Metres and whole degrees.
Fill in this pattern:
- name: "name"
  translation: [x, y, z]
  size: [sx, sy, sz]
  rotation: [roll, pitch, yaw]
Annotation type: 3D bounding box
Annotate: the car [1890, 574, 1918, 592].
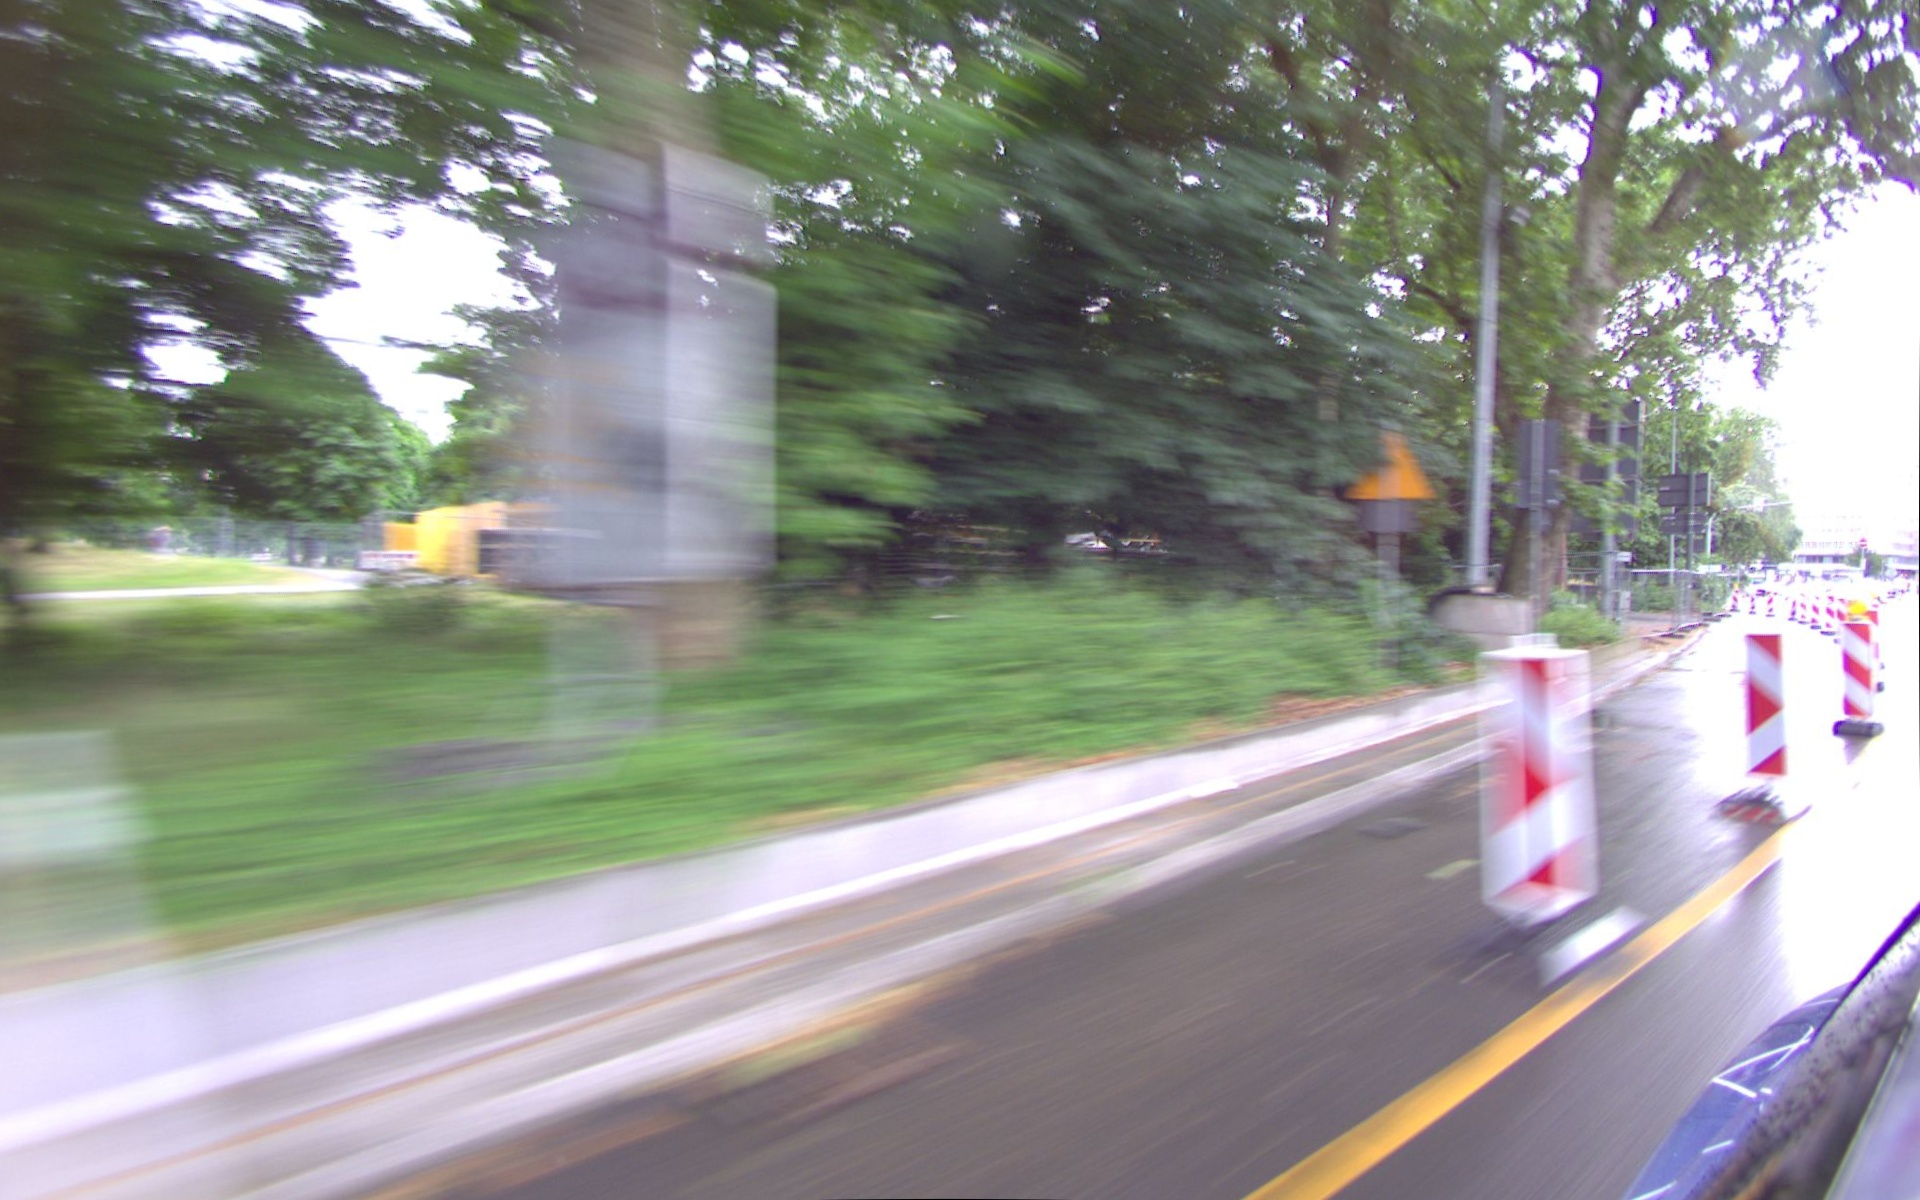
- name: "car"
  translation: [100.703, -1.836, 107.983]
  size: [1.992, 1.836, 4.230]
  rotation: [3, 3, 41]
